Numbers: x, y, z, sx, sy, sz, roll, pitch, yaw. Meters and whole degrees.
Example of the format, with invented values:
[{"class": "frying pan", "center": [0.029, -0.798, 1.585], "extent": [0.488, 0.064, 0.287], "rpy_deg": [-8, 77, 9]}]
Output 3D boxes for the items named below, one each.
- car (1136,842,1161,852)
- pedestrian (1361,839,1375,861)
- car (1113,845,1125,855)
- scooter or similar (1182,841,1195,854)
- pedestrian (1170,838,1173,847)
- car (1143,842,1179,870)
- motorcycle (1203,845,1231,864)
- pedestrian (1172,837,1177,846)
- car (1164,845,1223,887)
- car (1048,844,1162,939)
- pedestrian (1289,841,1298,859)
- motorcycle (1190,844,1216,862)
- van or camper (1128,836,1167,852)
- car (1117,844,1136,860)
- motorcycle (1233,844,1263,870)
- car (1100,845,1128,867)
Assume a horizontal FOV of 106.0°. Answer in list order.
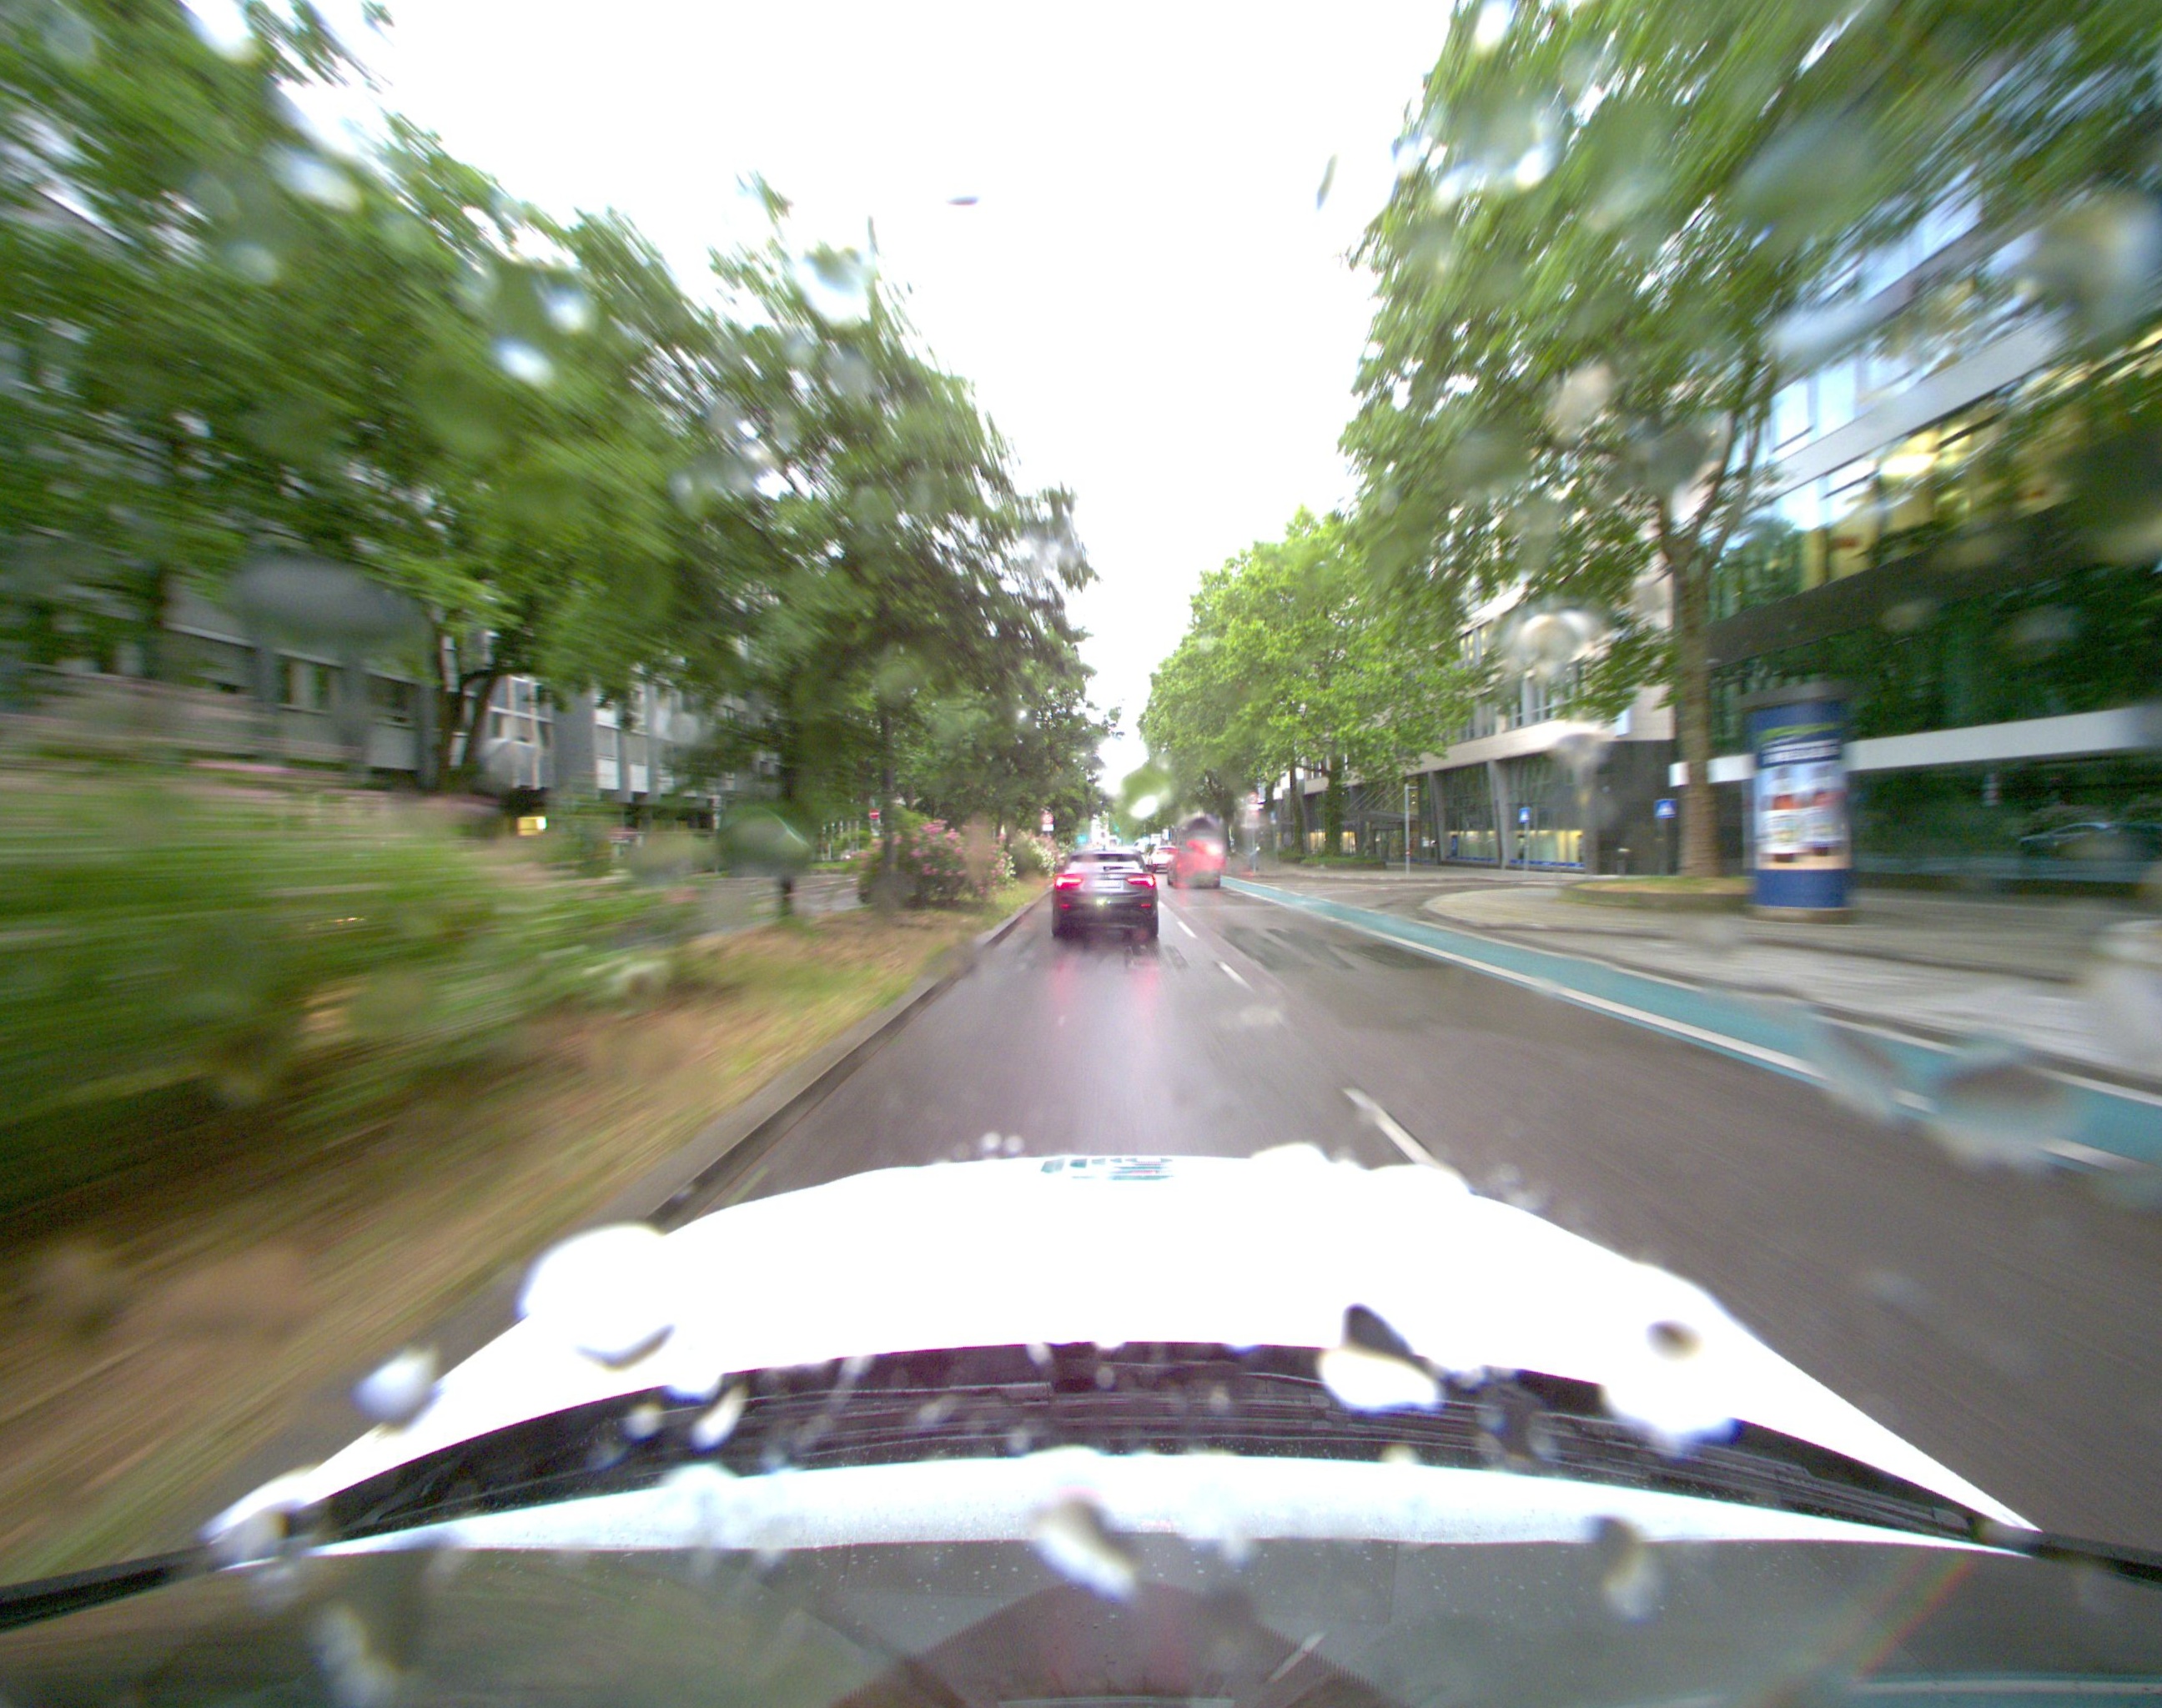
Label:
[{"class": "car", "center": [10.879, -1.091, 130.726], "extent": [3.618, 1.547, 1.723], "rpy_deg": [0, 1, 20]}, {"class": "pedestrian", "center": [22.881, -0.309, 64.881], "extent": [0.720, 1.693, 0.833], "rpy_deg": [-1, 1, 44]}, {"class": "car", "center": [6.253, -0.628, 133.758], "extent": [1.843, 1.523, 4.040], "rpy_deg": [-1, 0, 1]}, {"class": "scooter or similar", "center": [10.877, -0.656, 82.617], "extent": [1.283, 1.278, 0.538], "rpy_deg": [-2, 2, 5]}, {"class": "pedestrian", "center": [17.264, -2.199, 154.923], "extent": [0.551, 1.805, 0.761], "rpy_deg": [0, 0, -2]}, {"class": "car", "center": [4.844, 0.102, 49.832], "extent": [1.843, 1.669, 4.040], "rpy_deg": [-1, 0, 1]}, {"class": "motorcycle", "center": [9.920, 0.019, 59.577], "extent": [2.069, 1.212, 0.677], "rpy_deg": [-4, 0, -35]}, {"class": "pedestrian", "center": [18.020, -2.396, 157.122], "extent": [0.802, 1.696, 1.187], "rpy_deg": [0, 0, 0]}, {"class": "car", "center": [4.326, 0.419, 31.901], "extent": [1.843, 1.523, 4.040], "rpy_deg": [-1, 0, 1]}, {"class": "car", "center": [0.414, 0.593, 15.255], "extent": [1.843, 1.523, 4.039], "rpy_deg": [-1, 0, 0]}, {"class": "pedestrian", "center": [21.929, -0.395, 84.071], "extent": [0.822, 1.803, 0.730], "rpy_deg": [-1, 0, 4]}, {"class": "motorcycle", "center": [9.939, -0.073, 66.507], "extent": [1.962, 1.373, 0.724], "rpy_deg": [-3, 2, -21]}, {"class": "van or camper", "center": [11.165, -1.648, 136.585], "extent": [6.008, 2.558, 2.117], "rpy_deg": [-1, 0, 28]}, {"class": "car", "center": [4.618, -0.241, 82.787], "extent": [1.843, 1.523, 4.040], "rpy_deg": [-1, 0, 1]}, {"class": "motorcycle", "center": [9.520, 0.167, 46.299], "extent": [0.676, 1.367, 1.958], "rpy_deg": [-5, 0, 41]}, {"class": "car", "center": [2.292, 0.123, 57.410], "extent": [1.843, 1.523, 4.040], "rpy_deg": [-1, 0, 1]}]
